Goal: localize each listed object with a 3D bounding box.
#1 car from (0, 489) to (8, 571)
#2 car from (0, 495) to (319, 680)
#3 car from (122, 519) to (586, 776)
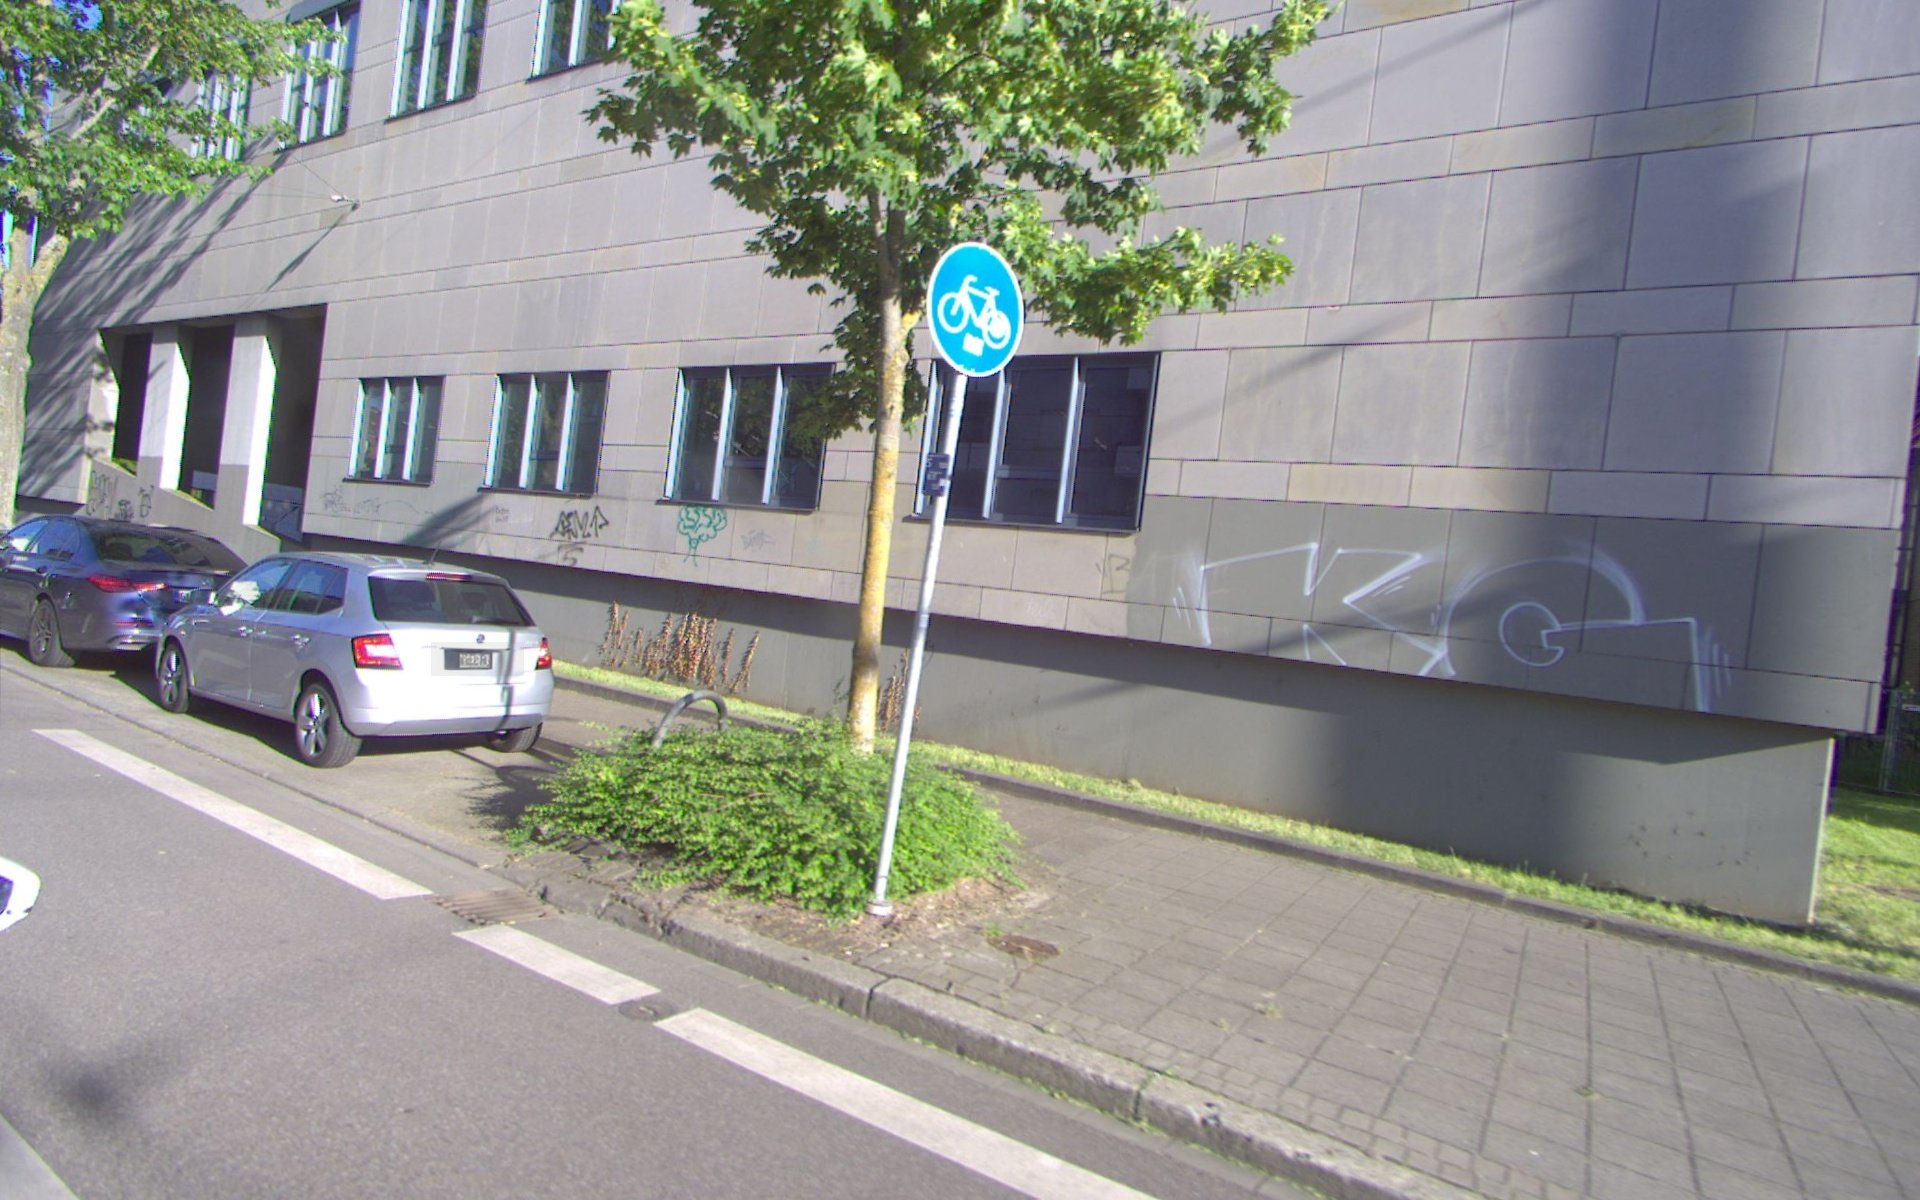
[{"bbox_3d":[-16.470,-1.182,15.308,4.088,1.482,1.824,7,0,32],"label":"car"},{"bbox_3d":[-9.210,-0.215,10.911,4.564,1.508,1.842,7,0,30],"label":"car"},{"bbox_3d":[-5.094,0.286,8.327,3.850,1.473,1.643,7,0,32],"label":"car"}]
